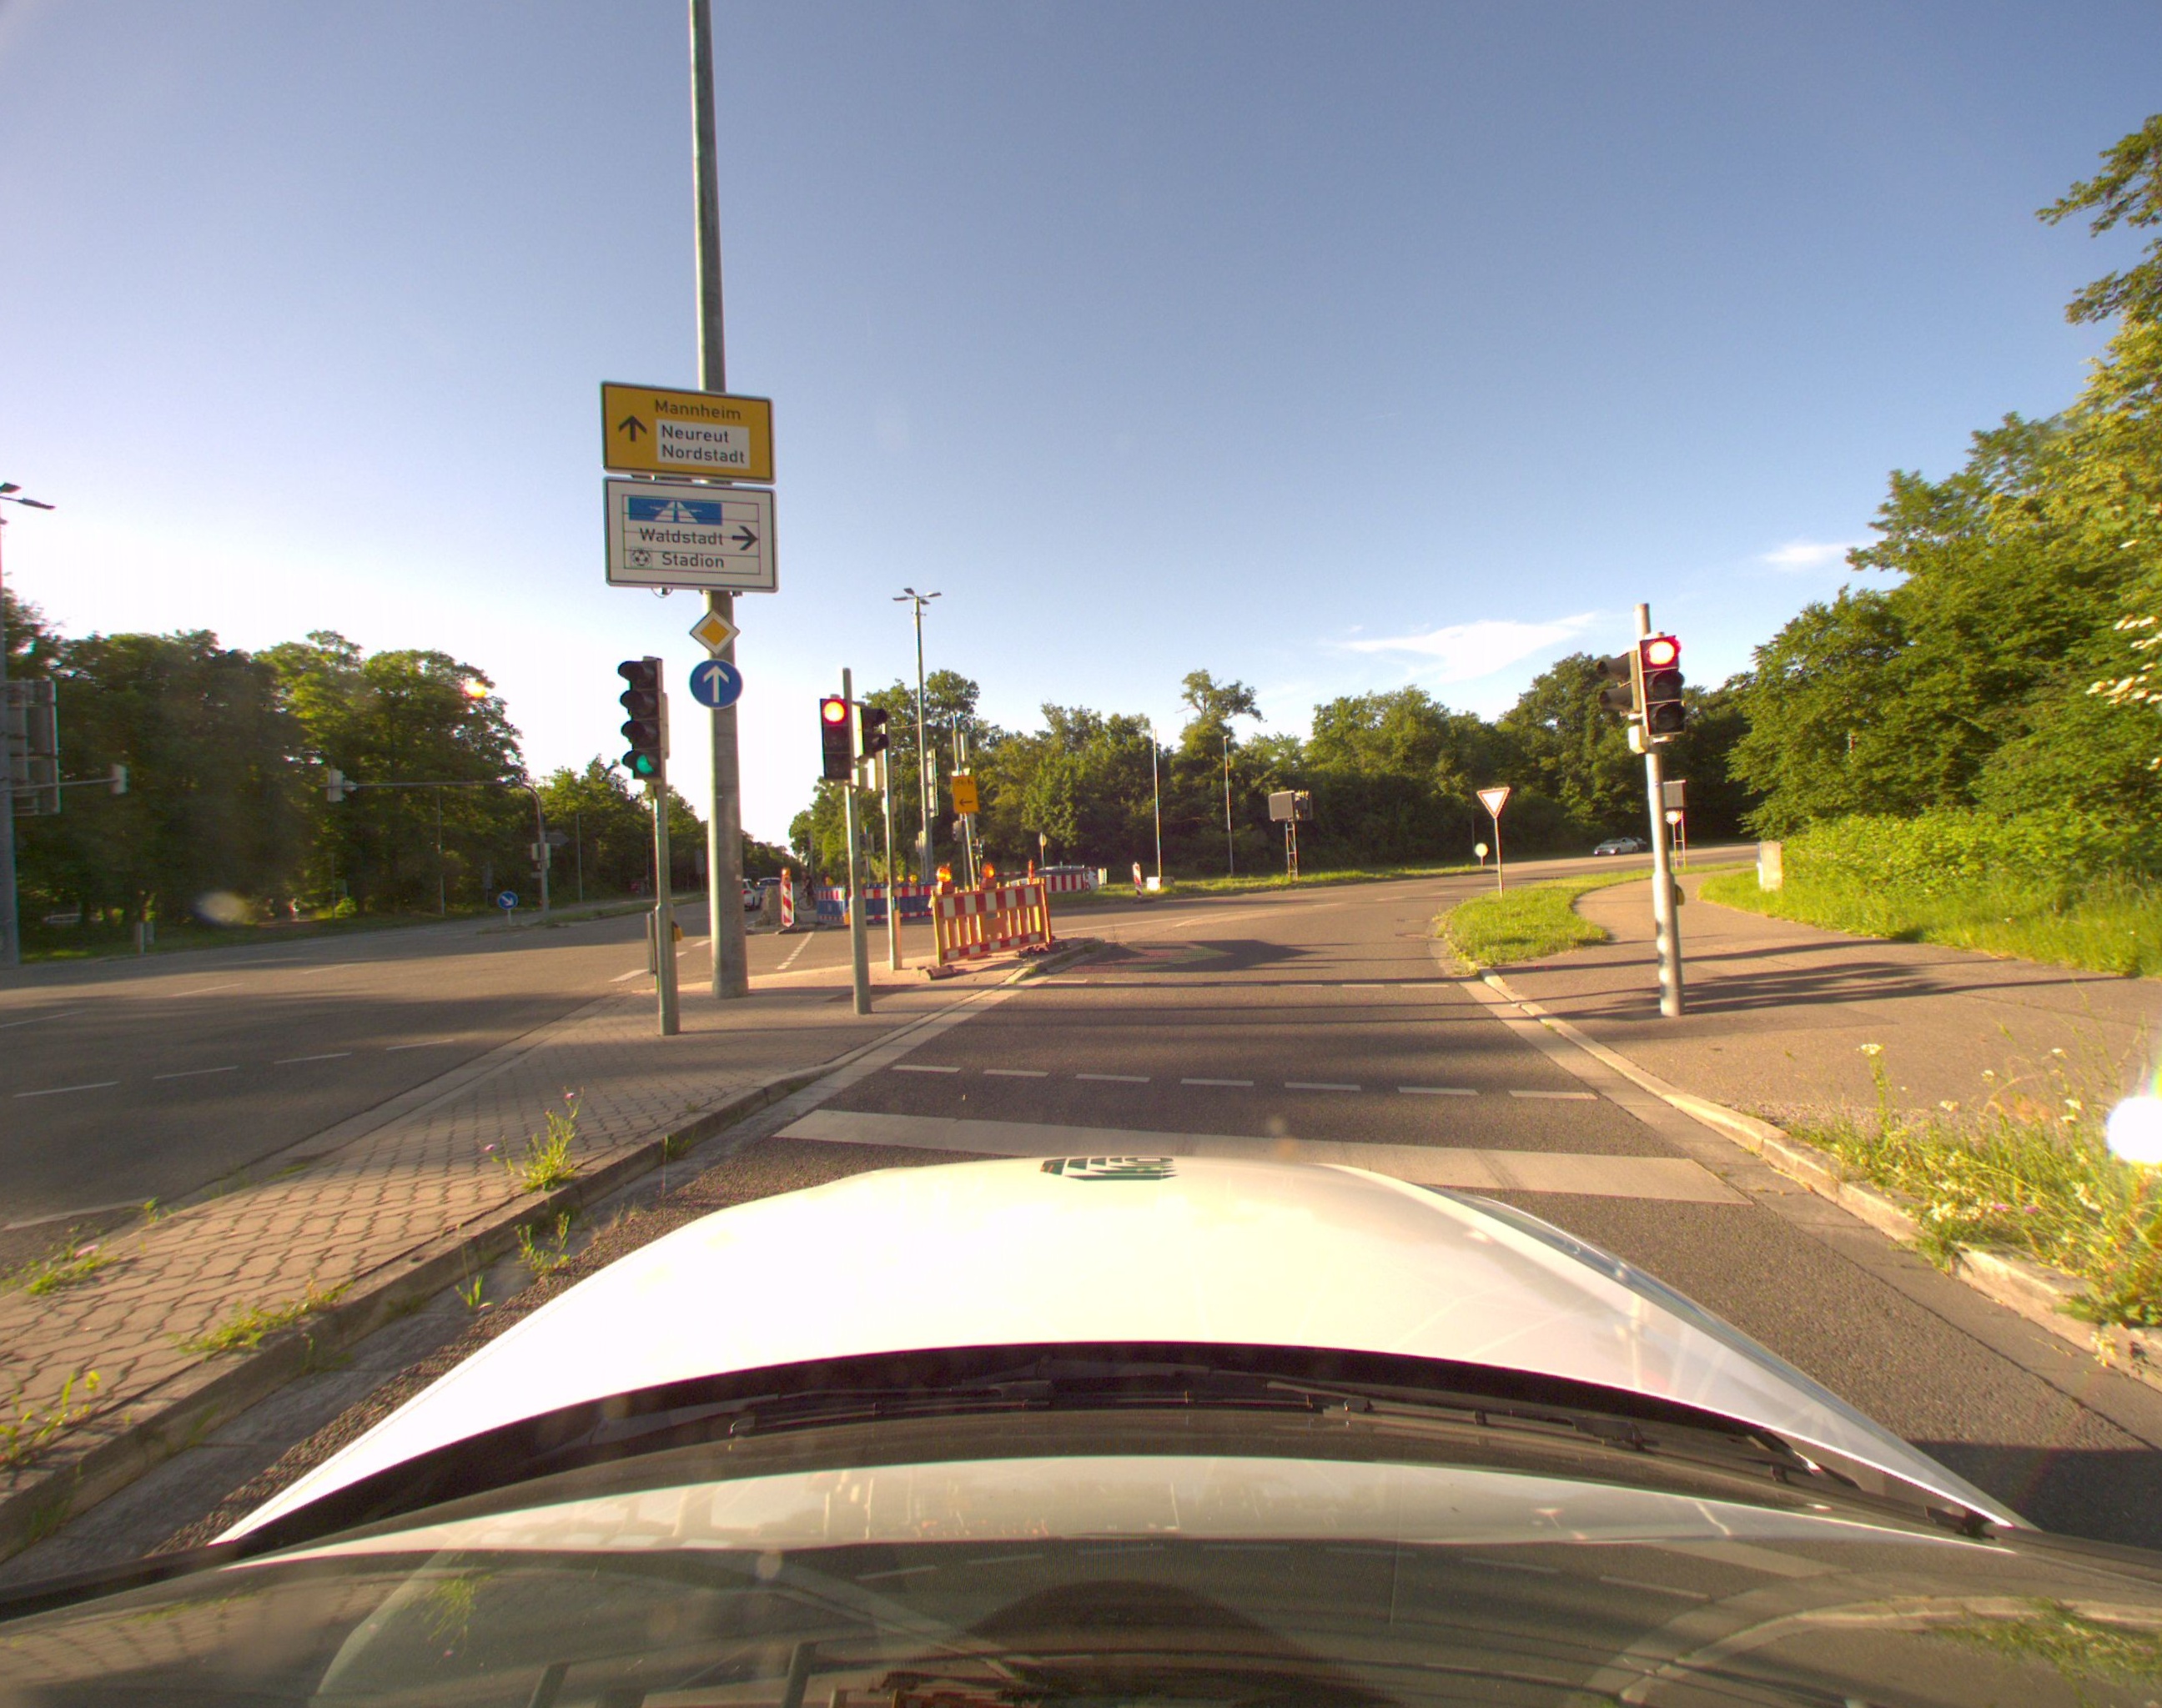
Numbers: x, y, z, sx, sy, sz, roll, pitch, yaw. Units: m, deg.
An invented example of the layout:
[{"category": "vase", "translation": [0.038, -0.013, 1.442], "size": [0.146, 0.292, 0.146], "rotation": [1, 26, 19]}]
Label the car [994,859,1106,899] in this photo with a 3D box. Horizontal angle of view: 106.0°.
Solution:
[{"category": "car", "translation": [-1.398, 1.138, 37.559], "size": [4.856, 1.580, 1.977], "rotation": [-2, -1, -37]}]

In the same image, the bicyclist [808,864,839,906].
[{"category": "bicyclist", "translation": [-12.044, 1.448, 38.070], "size": [0.956, 1.930, 1.022], "rotation": [-3, -1, 43]}]

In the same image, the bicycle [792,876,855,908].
[{"category": "bicycle", "translation": [-12.008, 1.758, 38.083], "size": [0.956, 1.383, 2.656], "rotation": [-3, -1, 43]}]

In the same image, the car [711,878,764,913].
[{"category": "car", "translation": [-15.989, 1.898, 38.064], "size": [1.946, 1.414, 3.973], "rotation": [-3, -1, -19]}]

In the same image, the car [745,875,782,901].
[{"category": "car", "translation": [-20.818, 2.206, 53.495], "size": [2.000, 1.536, 3.973], "rotation": [-3, -1, -19]}]

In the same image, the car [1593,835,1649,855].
[{"category": "car", "translation": [45.697, -0.782, 68.892], "size": [4.822, 1.436, 1.980], "rotation": [-2, -1, -30]}]
